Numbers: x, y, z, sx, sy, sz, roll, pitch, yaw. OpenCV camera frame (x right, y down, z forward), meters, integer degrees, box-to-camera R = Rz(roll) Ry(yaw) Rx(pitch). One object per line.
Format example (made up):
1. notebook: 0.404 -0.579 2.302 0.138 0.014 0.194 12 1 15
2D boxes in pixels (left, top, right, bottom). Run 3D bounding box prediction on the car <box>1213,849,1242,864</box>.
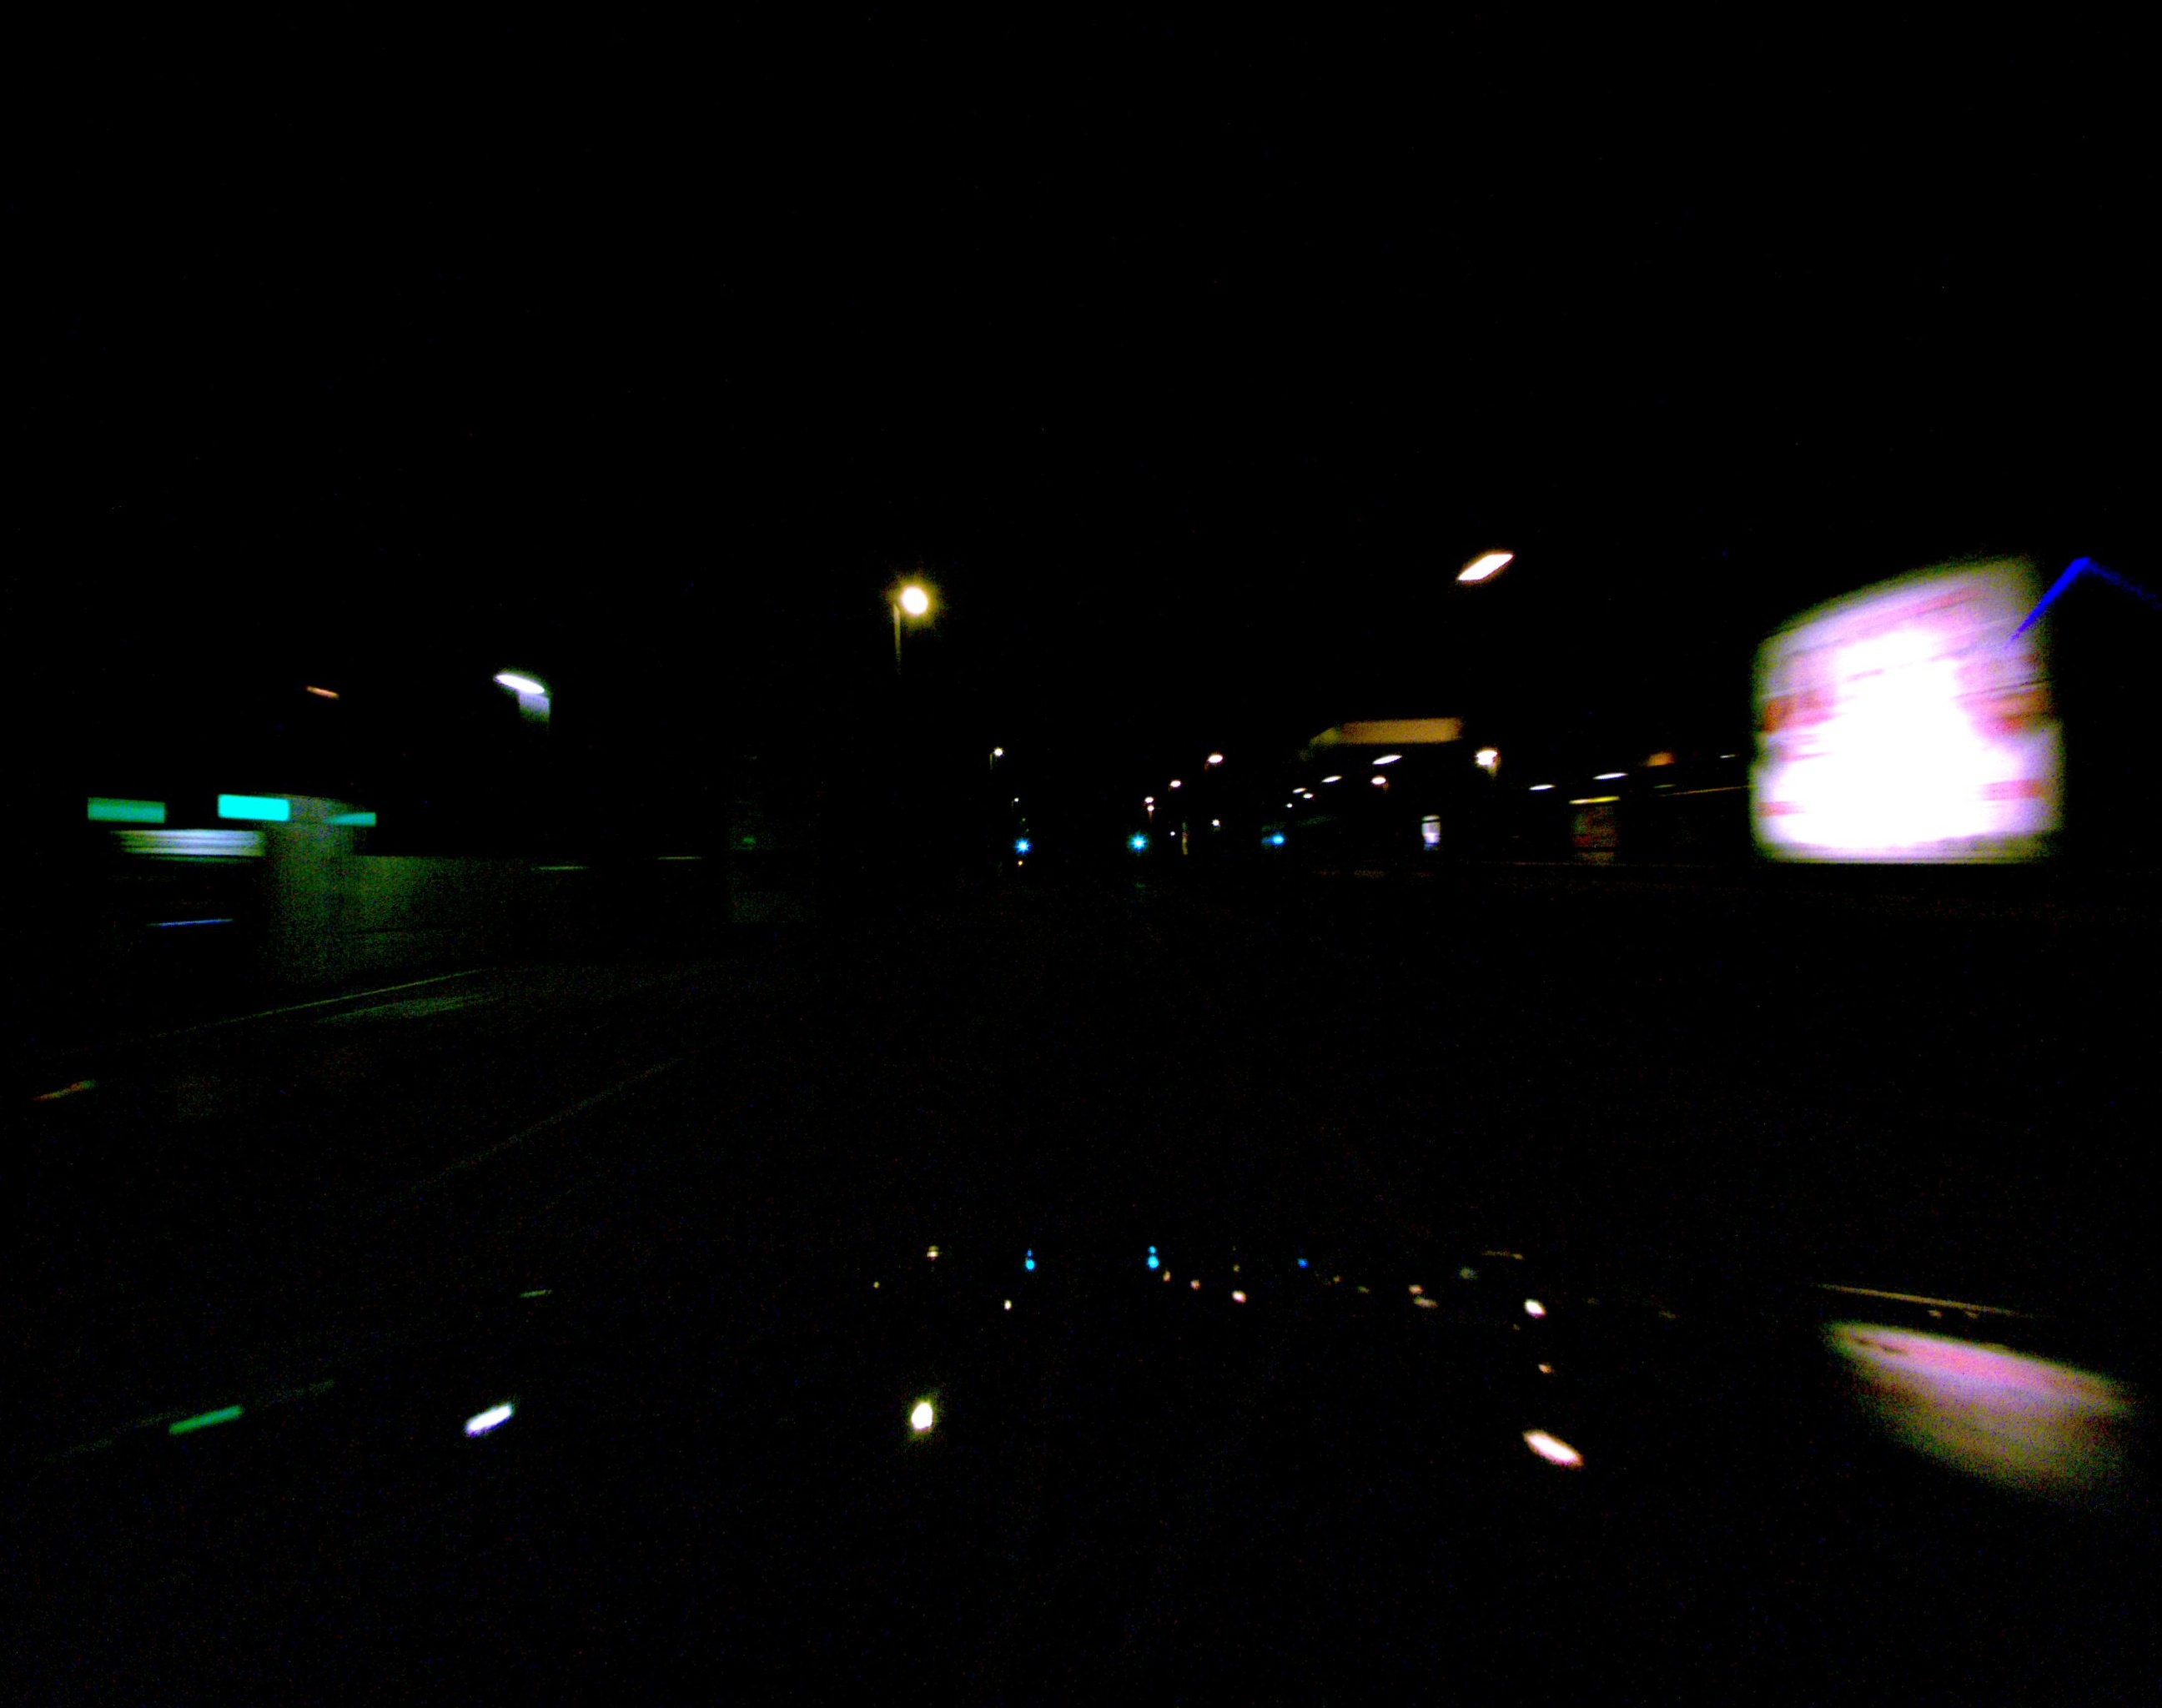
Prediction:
1. car: 15.184 0.251 78.918 1.871 1.496 4.093 -1 0 -4
